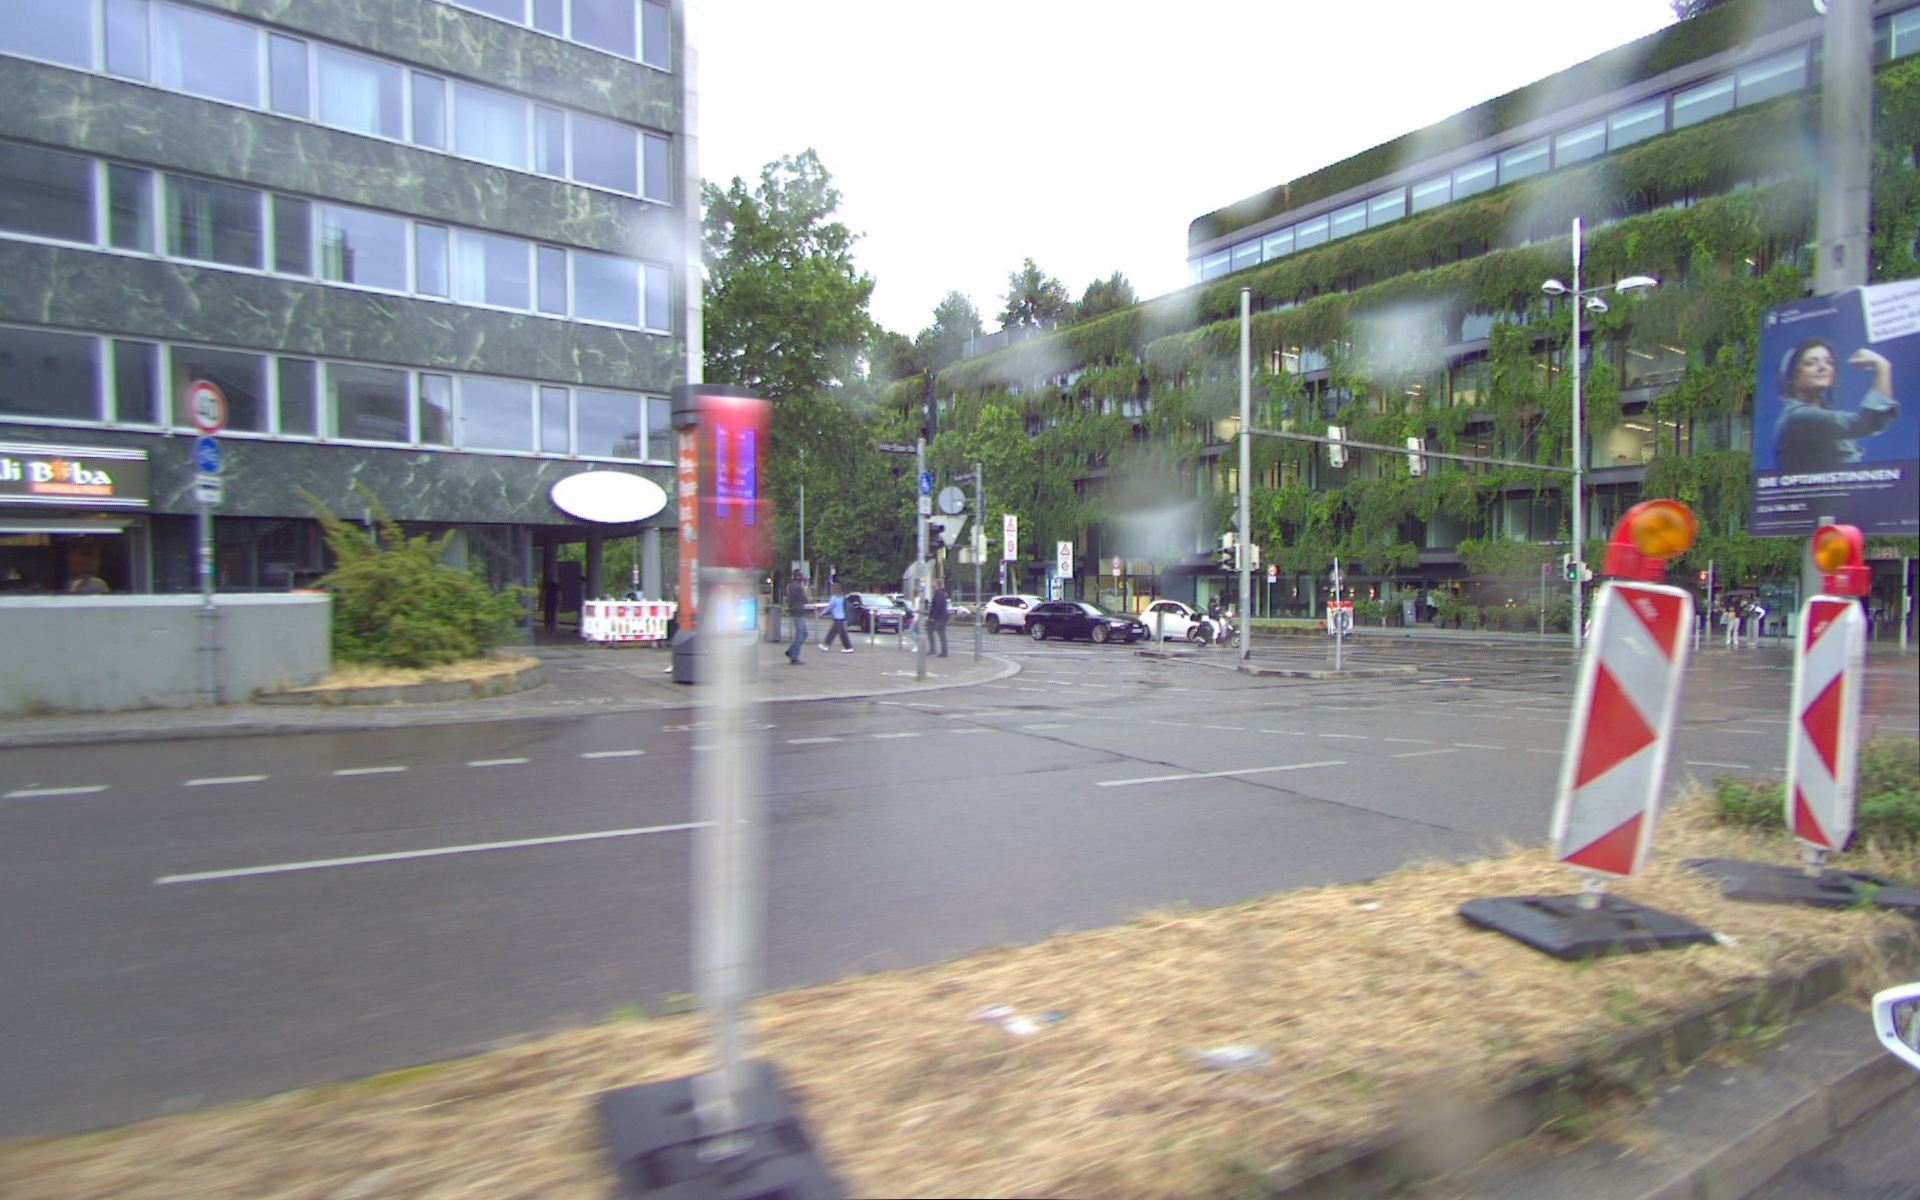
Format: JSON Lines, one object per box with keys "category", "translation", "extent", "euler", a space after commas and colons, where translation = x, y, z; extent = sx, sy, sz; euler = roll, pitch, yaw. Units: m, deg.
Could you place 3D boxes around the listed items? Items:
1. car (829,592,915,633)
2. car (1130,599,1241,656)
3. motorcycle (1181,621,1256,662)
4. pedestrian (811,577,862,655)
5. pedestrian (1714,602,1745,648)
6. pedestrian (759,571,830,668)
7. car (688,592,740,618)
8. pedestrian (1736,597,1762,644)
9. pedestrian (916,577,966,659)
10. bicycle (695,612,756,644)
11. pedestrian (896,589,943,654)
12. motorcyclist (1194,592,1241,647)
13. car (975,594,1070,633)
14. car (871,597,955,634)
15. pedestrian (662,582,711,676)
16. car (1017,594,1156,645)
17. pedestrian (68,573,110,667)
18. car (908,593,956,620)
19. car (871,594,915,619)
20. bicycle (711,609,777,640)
{"category": "car", "translation": [-3.888, 0.519, 43.743], "extent": [1.979, 1.674, 4.199], "euler": [0, 0, -34]}
{"category": "car", "translation": [8.112, 0.942, 36.302], "extent": [1.985, 1.948, 3.417], "euler": [1, 0, -42]}
{"category": "motorcycle", "translation": [8.234, 1.312, 32.099], "extent": [2.204, 1.227, 0.843], "euler": [1, 0, 45]}
{"category": "pedestrian", "translation": [-3.093, 0.407, 25.060], "extent": [0.868, 1.878, 1.015], "euler": [0, -4, -34]}
{"category": "pedestrian", "translation": [29.947, 0.958, 39.118], "extent": [0.923, 1.781, 1.167], "euler": [1, 0, 37]}
{"category": "pedestrian", "translation": [-3.377, 0.381, 20.504], "extent": [1.225, 1.911, 0.685], "euler": [0, 2, -34]}
{"category": "car", "translation": [-16.726, 0.320, 68.116], "extent": [1.805, 1.674, 4.053], "euler": [2, -1, -39]}
{"category": "pedestrian", "translation": [30.411, 0.796, 38.741], "extent": [0.732, 1.781, 0.972], "euler": [1, 0, 37]}
{"category": "pedestrian", "translation": [-0.453, 0.436, 23.900], "extent": [0.887, 1.909, 0.781], "euler": [0, -3, -30]}
{"category": "bicycle", "translation": [-7.194, 0.855, 30.846], "extent": [1.773, 0.947, 0.473], "euler": [1, 0, -21]}
{"category": "pedestrian", "translation": [-1.040, 0.562, 25.833], "extent": [0.912, 1.606, 0.828], "euler": [0, -3, -30]}
{"category": "motorcyclist", "translation": [8.230, 0.602, 32.106], "extent": [1.173, 1.725, 0.843], "euler": [1, 0, 44]}
{"category": "car", "translation": [2.623, 0.546, 42.739], "extent": [1.858, 1.543, 3.856], "euler": [1, 0, -42]}
{"category": "car", "translation": [-2.313, 0.755, 48.797], "extent": [1.985, 1.674, 4.050], "euler": [2, -1, -42]}
{"category": "pedestrian", "translation": [-5.001, 0.511, 18.384], "extent": [0.678, 1.675, 0.758], "euler": [1, 1, -2]}
{"category": "car", "translation": [4.434, 0.662, 35.805], "extent": [1.957, 1.674, 4.755], "euler": [1, 0, -43]}
{"category": "pedestrian", "translation": [-18.044, 0.397, 20.814], "extent": [0.586, 1.910, 0.750], "euler": [0, 1, -36]}
{"category": "car", "translation": [-2.242, 0.523, 80.364], "extent": [1.979, 2.040, 4.074], "euler": [1, 0, -34]}
{"category": "car", "translation": [-5.710, 0.513, 85.266], "extent": [1.979, 2.040, 4.074], "euler": [1, 0, -34]}
{"category": "bicycle", "translation": [-6.923, 0.774, 32.231], "extent": [2.170, 0.968, 0.423], "euler": [1, 0, -43]}
